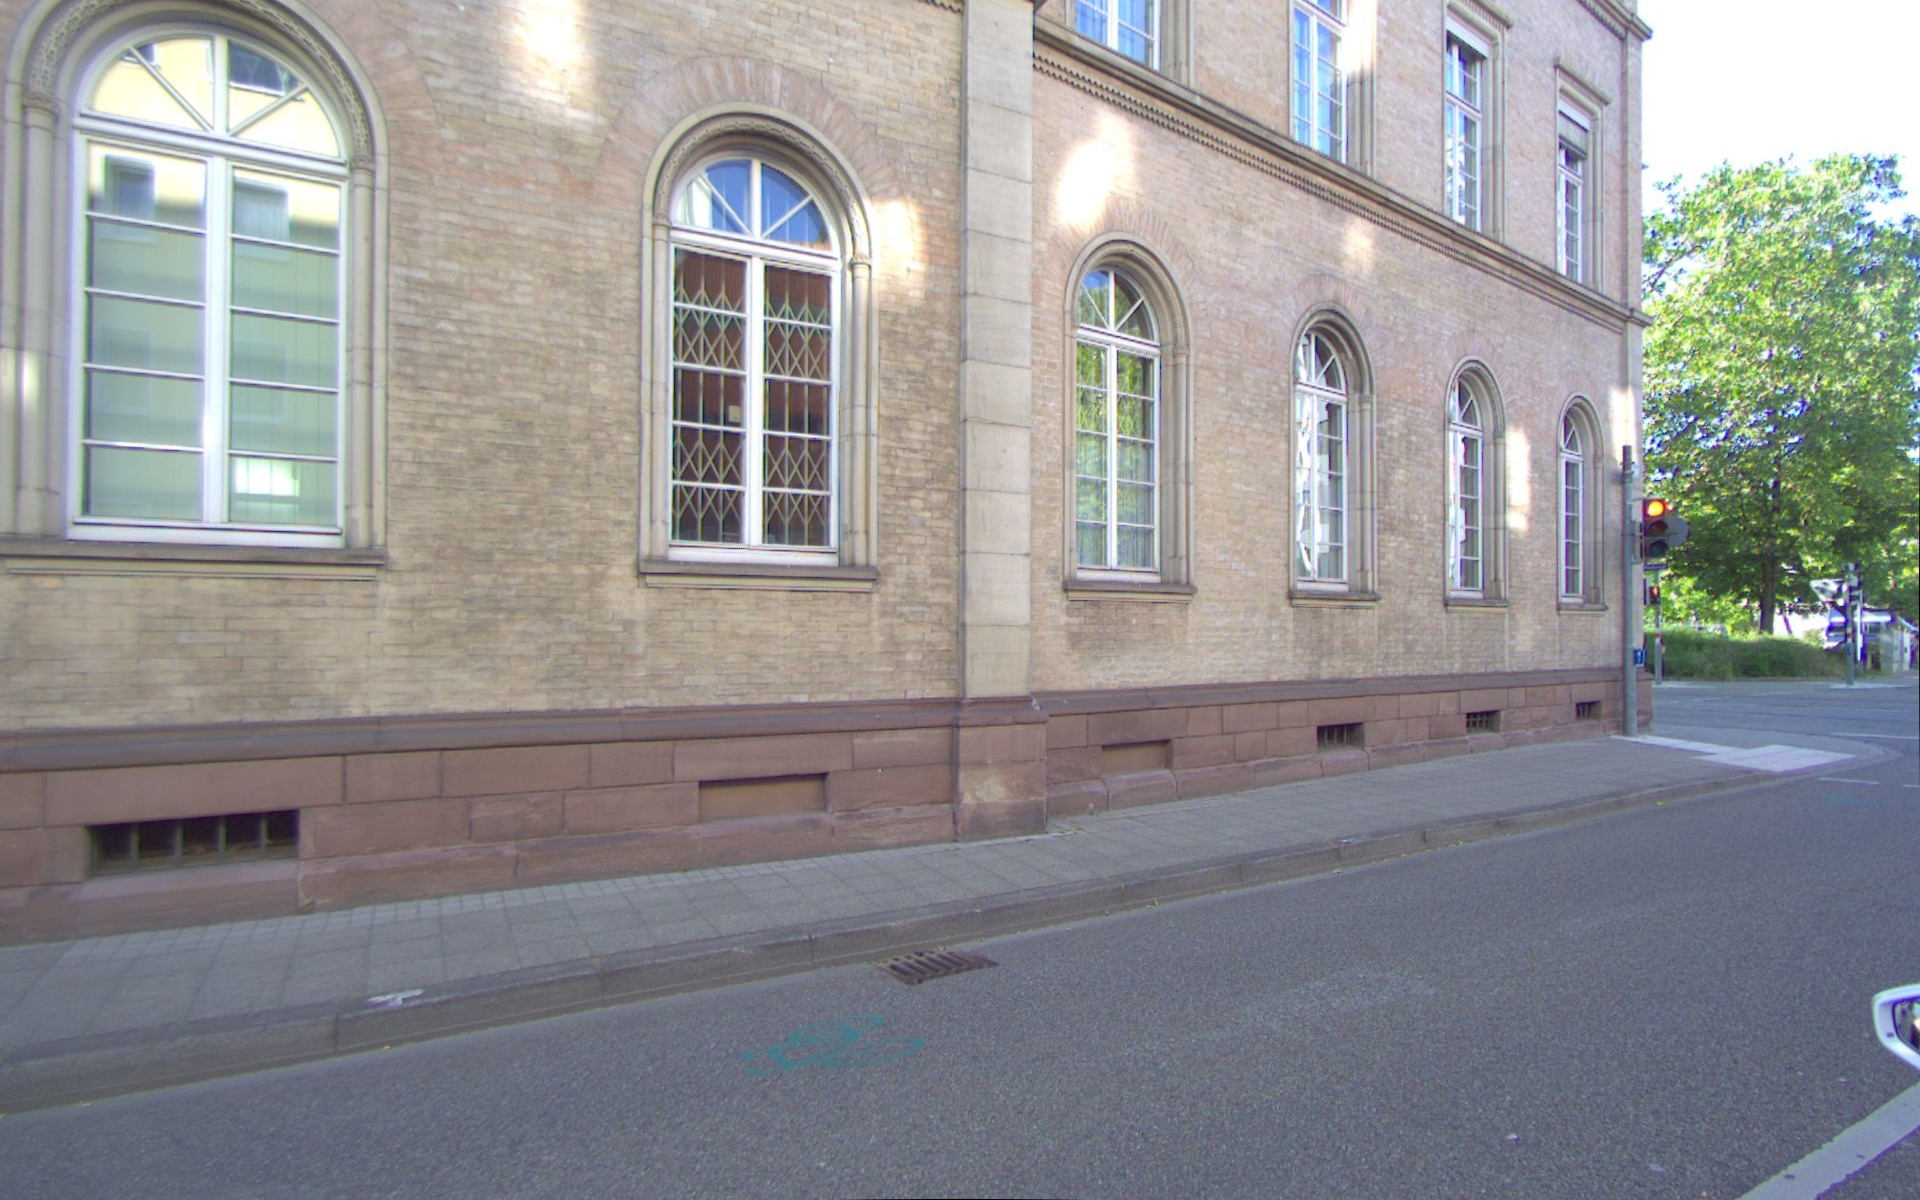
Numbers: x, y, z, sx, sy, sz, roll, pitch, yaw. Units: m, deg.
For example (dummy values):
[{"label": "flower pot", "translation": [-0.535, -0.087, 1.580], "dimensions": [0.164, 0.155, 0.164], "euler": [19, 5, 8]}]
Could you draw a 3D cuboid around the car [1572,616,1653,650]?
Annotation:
[{"label": "car", "translation": [47.846, 2.479, 73.733], "dimensions": [2.056, 2.423, 4.521], "euler": [2, -3, -38]}]

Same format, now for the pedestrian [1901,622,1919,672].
[{"label": "pedestrian", "translation": [34.052, 1.660, 35.738], "dimensions": [0.947, 1.745, 0.697], "euler": [2, -3, -40]}]

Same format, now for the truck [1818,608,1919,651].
[{"label": "truck", "translation": [53.772, 1.671, 59.080], "dimensions": [2.069, 2.431, 4.790], "euler": [1, -1, -39]}]
